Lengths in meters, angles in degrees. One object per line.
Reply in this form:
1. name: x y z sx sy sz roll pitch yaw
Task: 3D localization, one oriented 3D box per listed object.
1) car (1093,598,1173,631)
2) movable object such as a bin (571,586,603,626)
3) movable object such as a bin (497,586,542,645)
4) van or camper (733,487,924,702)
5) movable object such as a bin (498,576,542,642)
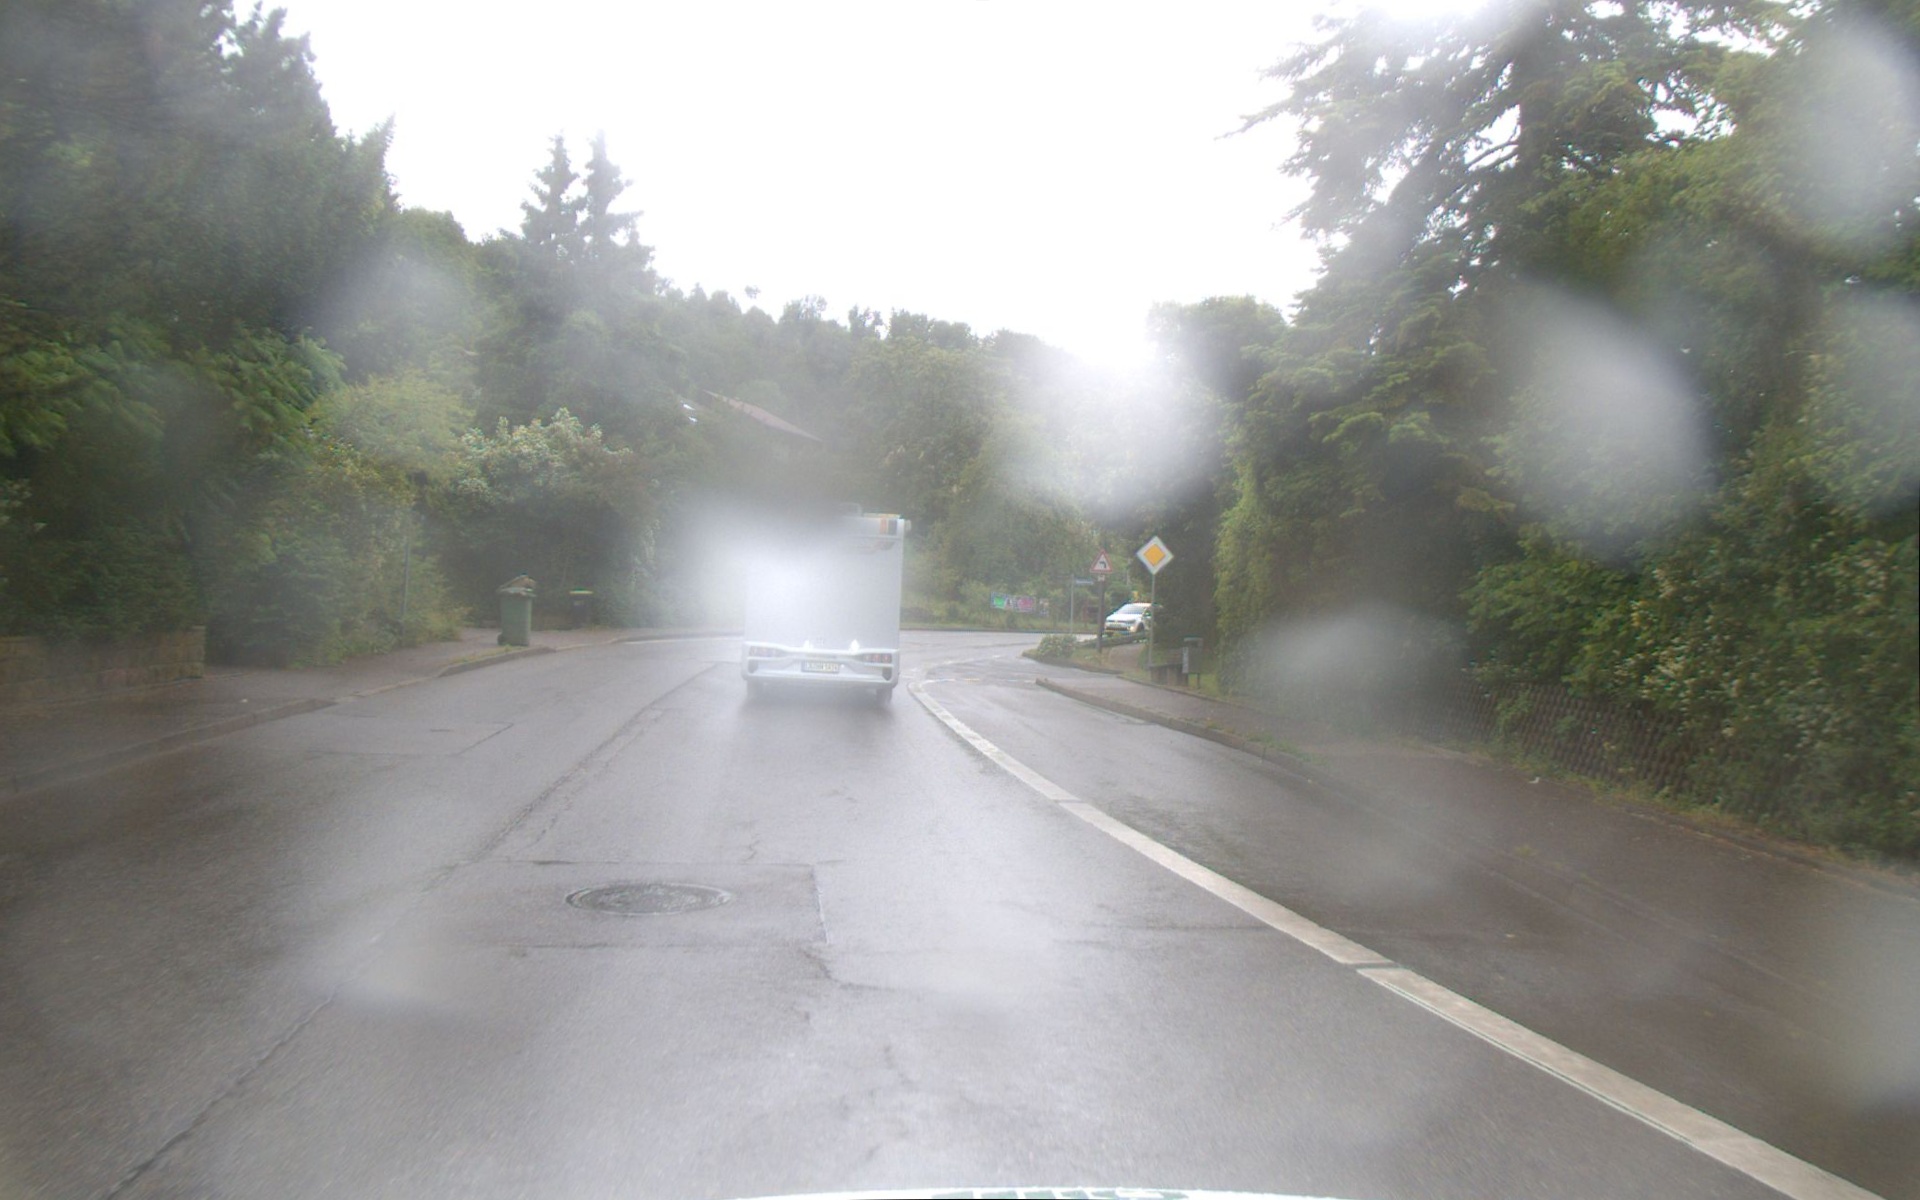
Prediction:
1. car: 7.662 0.653 72.874 1.859 1.412 3.987 -1 -1 34
2. movable object such as a bin: -10.057 0.157 44.621 0.740 1.040 0.743 2 0 -6
3. movable object such as a bin: -8.577 0.300 32.233 0.727 1.113 0.756 2 0 -8
4. van or camper: -1.991 -0.001 26.060 2.564 2.903 6.026 2 -1 -3
5. movable object such as a bin: -8.800 0.178 33.105 0.727 1.275 0.756 2 0 -8
